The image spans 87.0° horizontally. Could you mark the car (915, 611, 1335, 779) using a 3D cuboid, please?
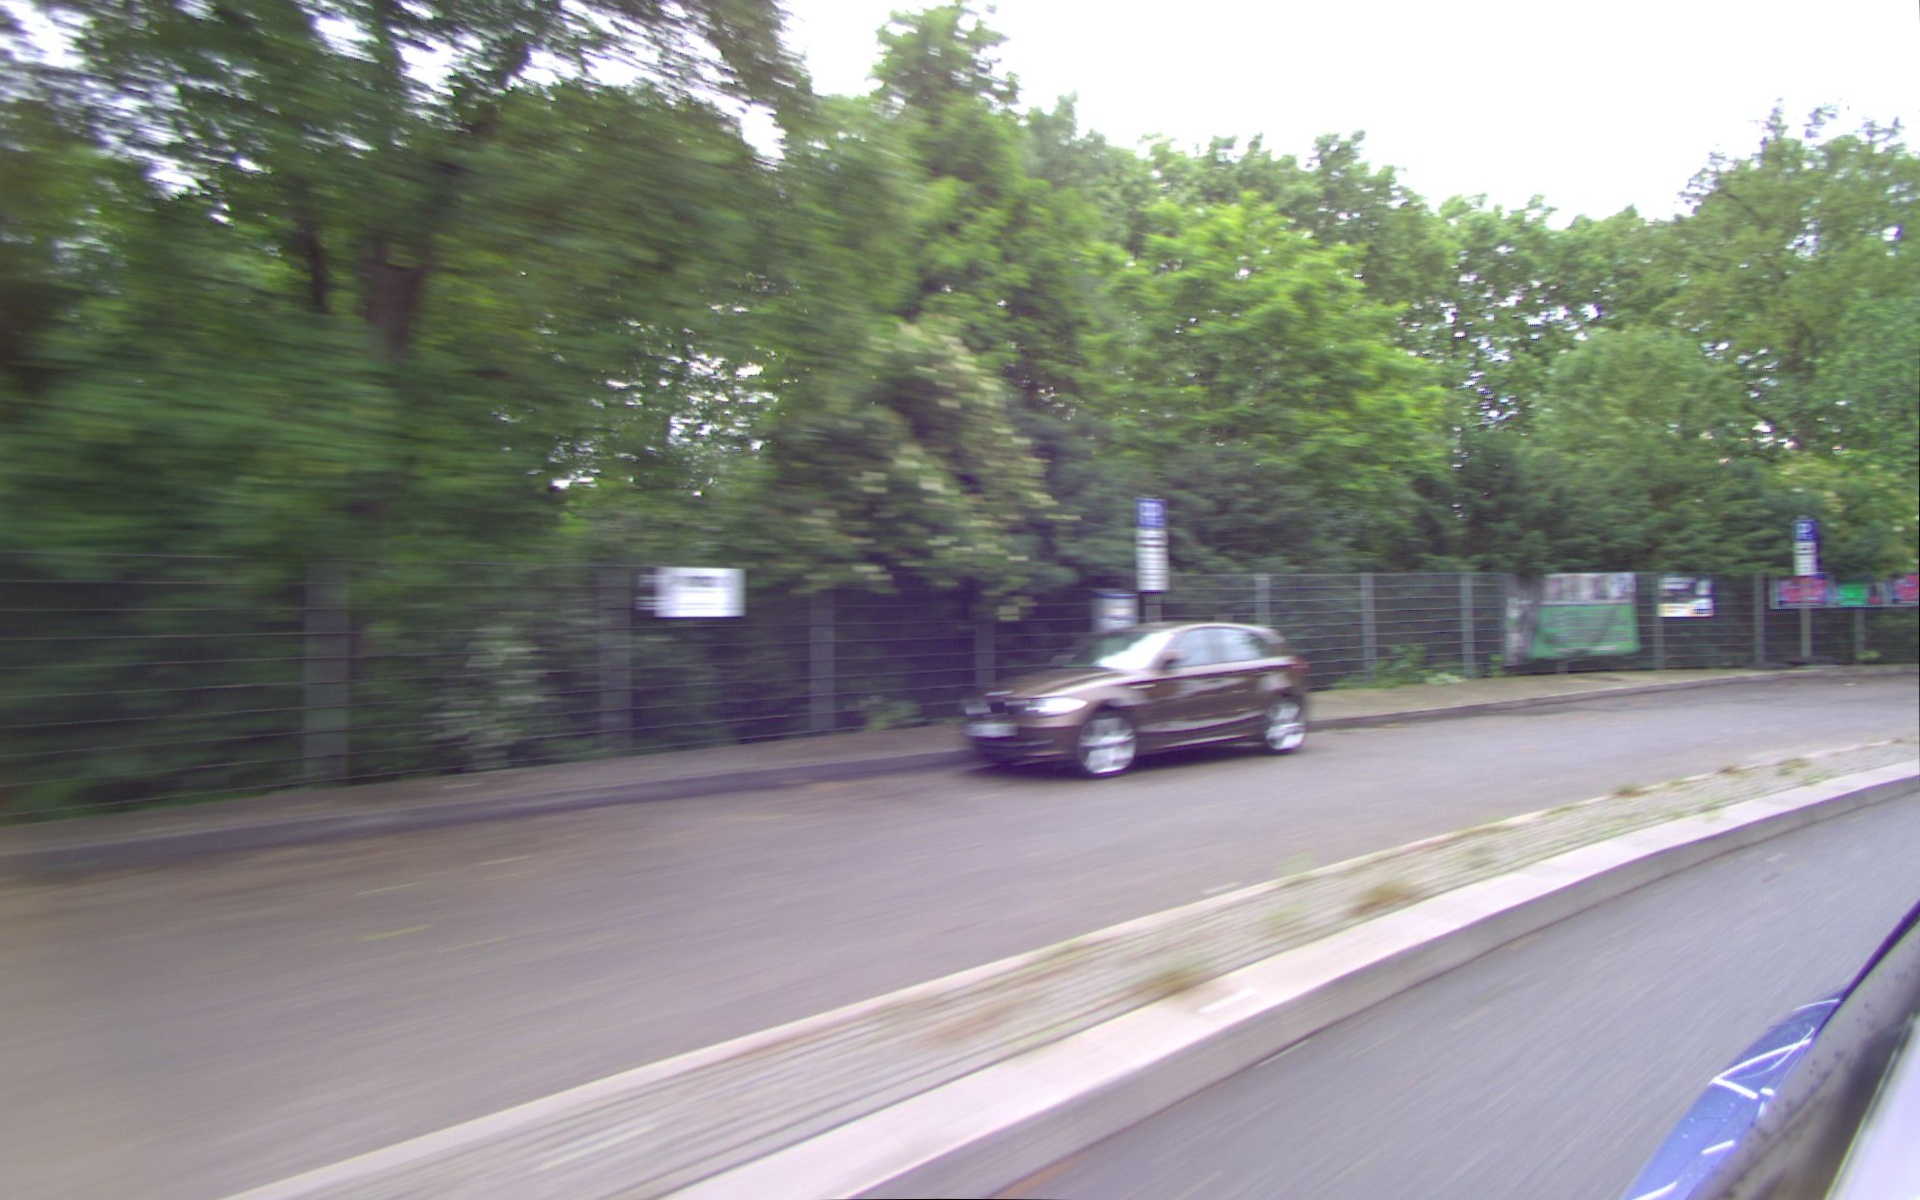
[{"bbox_3d":[1.780,0.873,10.489,4.094,1.395,1.877,0,-4,-34],"label":"car"}]
